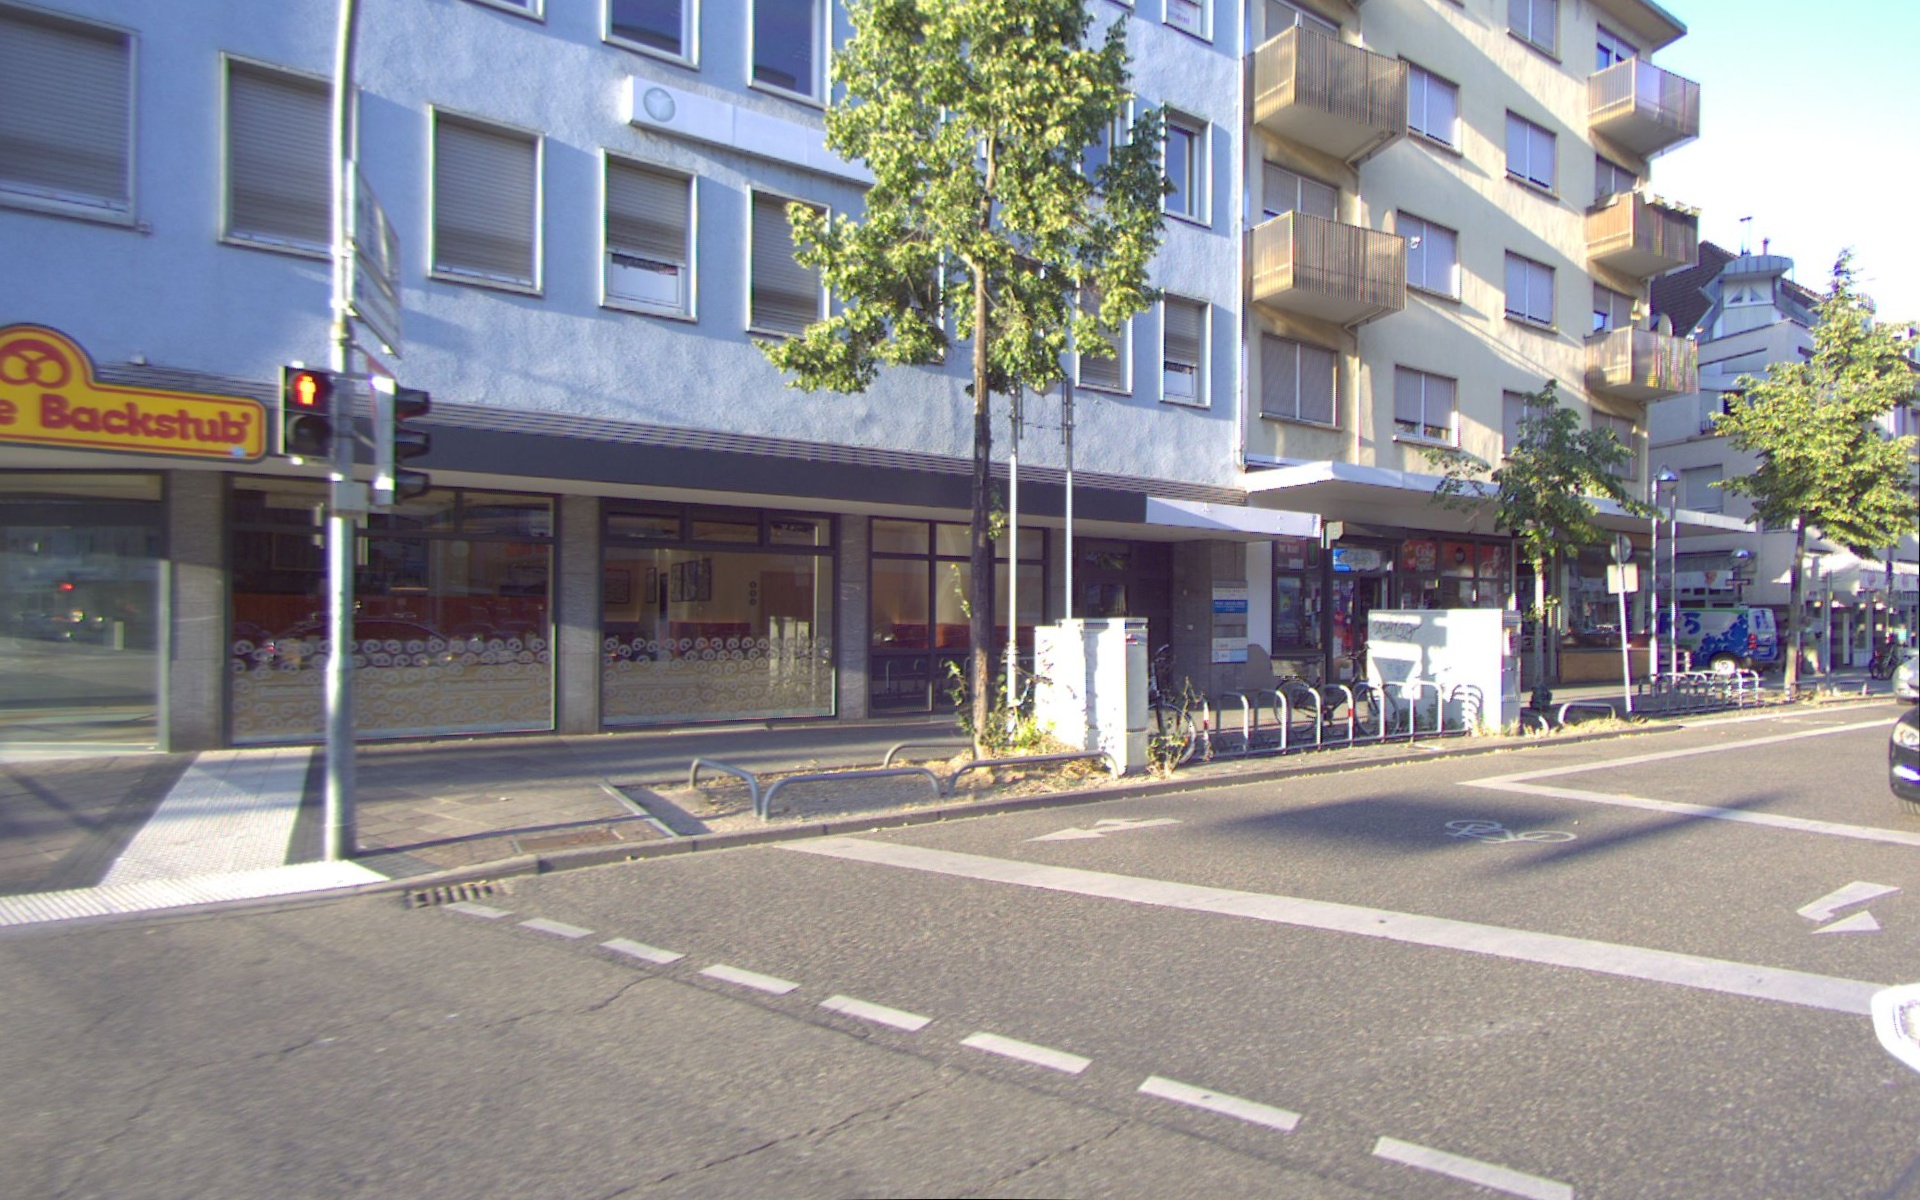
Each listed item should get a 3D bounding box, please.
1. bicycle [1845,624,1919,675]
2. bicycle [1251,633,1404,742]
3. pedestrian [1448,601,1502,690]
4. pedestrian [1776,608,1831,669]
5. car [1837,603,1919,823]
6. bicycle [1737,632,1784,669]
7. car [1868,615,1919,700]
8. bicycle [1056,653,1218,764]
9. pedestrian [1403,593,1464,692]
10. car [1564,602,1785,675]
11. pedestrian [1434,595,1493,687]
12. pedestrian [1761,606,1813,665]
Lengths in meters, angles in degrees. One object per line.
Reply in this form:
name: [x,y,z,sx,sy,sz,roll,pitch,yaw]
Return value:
bicycle: [25.874,1.363,28.061,3.095,1.318,0.952,2,0,-34]
bicycle: [4.757,1.098,13.153,0.486,1.235,1.999,1,0,-31]
pedestrian: [10.114,0.885,19.753,0.728,1.698,0.770,1,0,11]
pedestrian: [24.232,1.091,28.862,0.980,1.698,0.901,-1,0,-26]
car: [8.974,0.796,8.005,4.463,1.568,1.946,0,0,-34]
bicycle: [23.148,1.456,29.030,1.995,1.005,0.486,1,0,-34]
car: [19.512,1.083,19.237,4.460,1.531,1.983,2,-4,-32]
bicycle: [1.910,1.152,11.144,0.486,1.005,1.996,1,0,-35]
pedestrian: [9.136,0.802,19.406,0.732,1.872,0.766,-1,0,-22]
car: [20.589,1.039,29.194,1.978,1.852,4.838,1,0,-32]
pedestrian: [10.349,0.821,20.652,0.804,1.843,0.737,0,-1,-30]
pedestrian: [24.697,1.046,30.006,0.767,1.698,0.903,1,0,-18]
